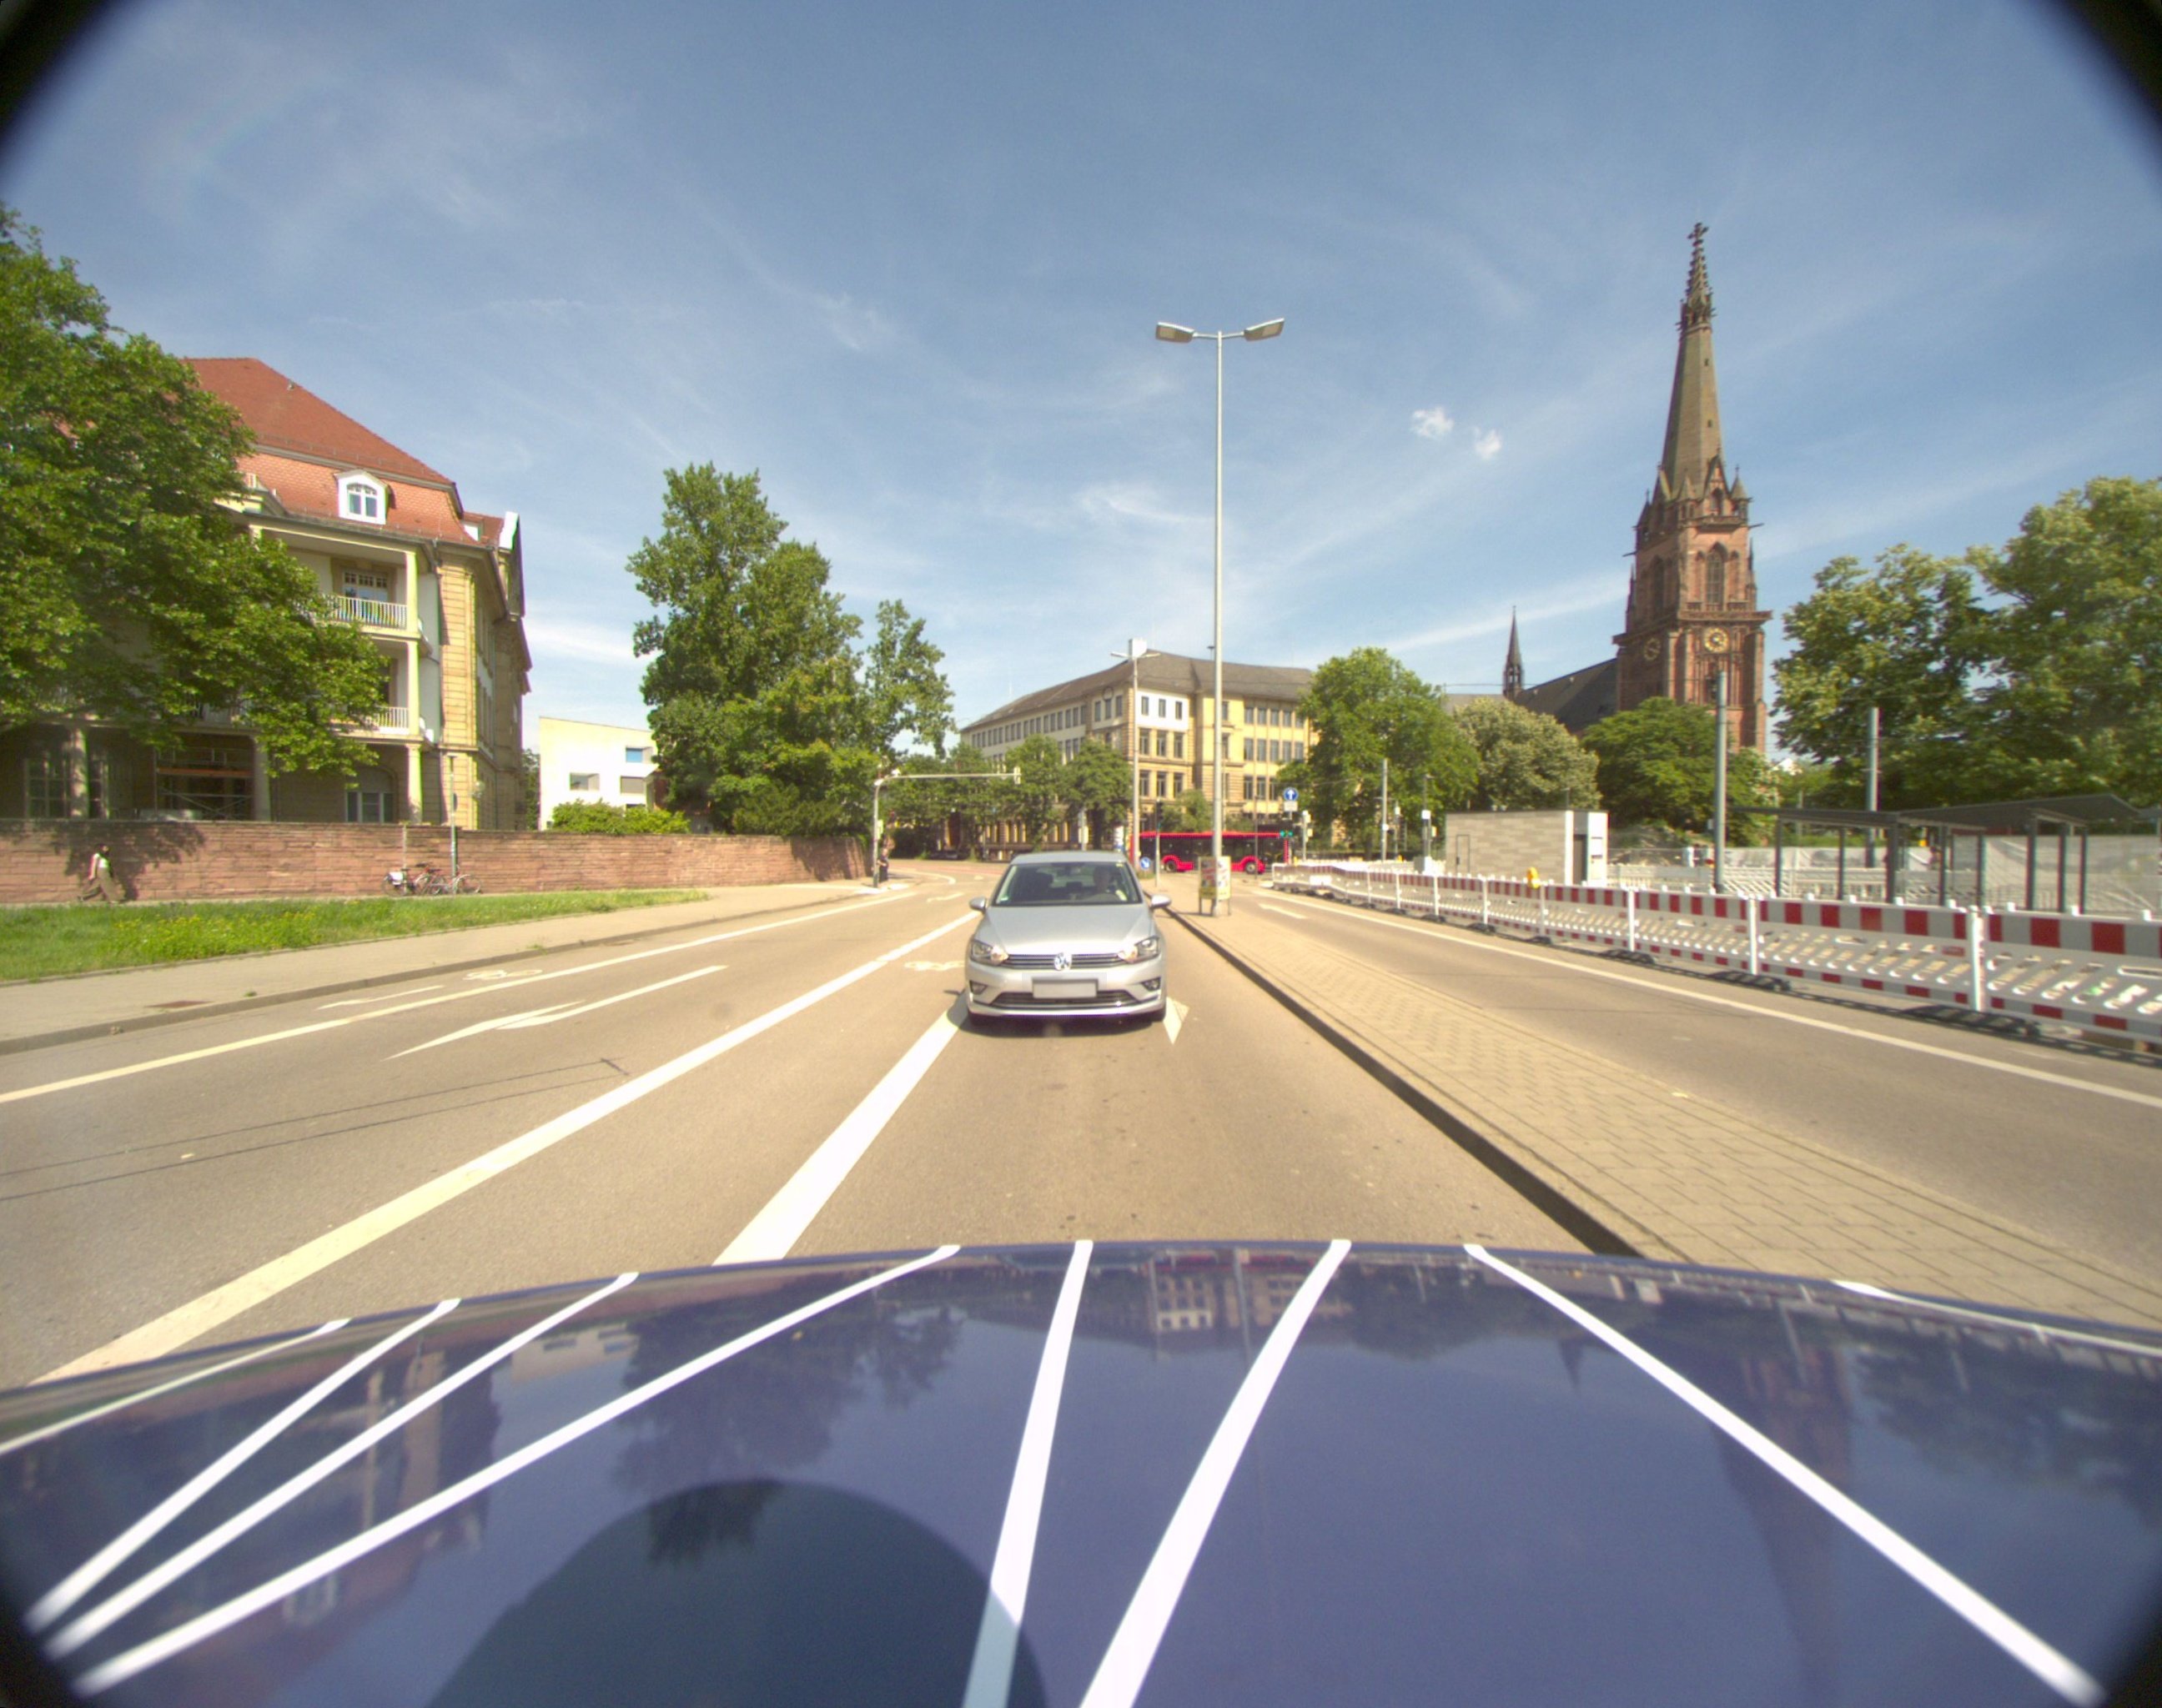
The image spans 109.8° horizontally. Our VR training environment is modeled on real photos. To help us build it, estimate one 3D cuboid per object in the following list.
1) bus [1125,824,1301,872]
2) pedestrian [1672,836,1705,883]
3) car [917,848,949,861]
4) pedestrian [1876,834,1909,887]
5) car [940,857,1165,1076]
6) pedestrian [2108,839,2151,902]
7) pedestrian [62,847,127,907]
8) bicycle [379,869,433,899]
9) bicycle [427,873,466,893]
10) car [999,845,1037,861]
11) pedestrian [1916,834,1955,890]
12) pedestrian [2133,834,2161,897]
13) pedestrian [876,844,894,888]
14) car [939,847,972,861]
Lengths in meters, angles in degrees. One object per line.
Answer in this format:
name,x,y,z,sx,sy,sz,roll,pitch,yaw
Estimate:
bus,9.607,-0.395,56.280,12.382,3.076,3.138,-2,1,26
pedestrian,26.213,0.221,32.804,0.820,2.002,0.686,1,1,3
car,-21.712,0.102,111.420,4.006,1.653,1.994,-3,4,-34
pedestrian,30.844,0.247,28.886,0.822,2.002,0.684,0,1,-33
car,-0.119,0.856,7.818,1.687,1.577,4.152,1,1,3
pedestrian,34.301,0.530,24.855,0.822,2.002,0.685,0,2,-30
pedestrian,-25.890,0.591,19.957,0.915,1.539,0.502,0,2,-36
bicycle,-21.316,0.927,24.000,0.393,0.878,1.230,1,1,20
bicycle,-20.748,0.937,24.864,0.274,0.598,0.950,2,1,39
car,-7.447,-0.100,89.428,4.006,1.653,1.994,-3,4,-34
pedestrian,31.394,0.286,27.916,0.688,2.002,0.818,0,1,-35
pedestrian,34.945,0.371,24.736,0.822,2.002,0.685,0,1,-30
pedestrian,-8.937,0.527,34.636,0.796,2.002,0.615,0,1,-14
car,-17.497,-0.022,105.831,4.006,1.653,1.994,-3,4,-35
